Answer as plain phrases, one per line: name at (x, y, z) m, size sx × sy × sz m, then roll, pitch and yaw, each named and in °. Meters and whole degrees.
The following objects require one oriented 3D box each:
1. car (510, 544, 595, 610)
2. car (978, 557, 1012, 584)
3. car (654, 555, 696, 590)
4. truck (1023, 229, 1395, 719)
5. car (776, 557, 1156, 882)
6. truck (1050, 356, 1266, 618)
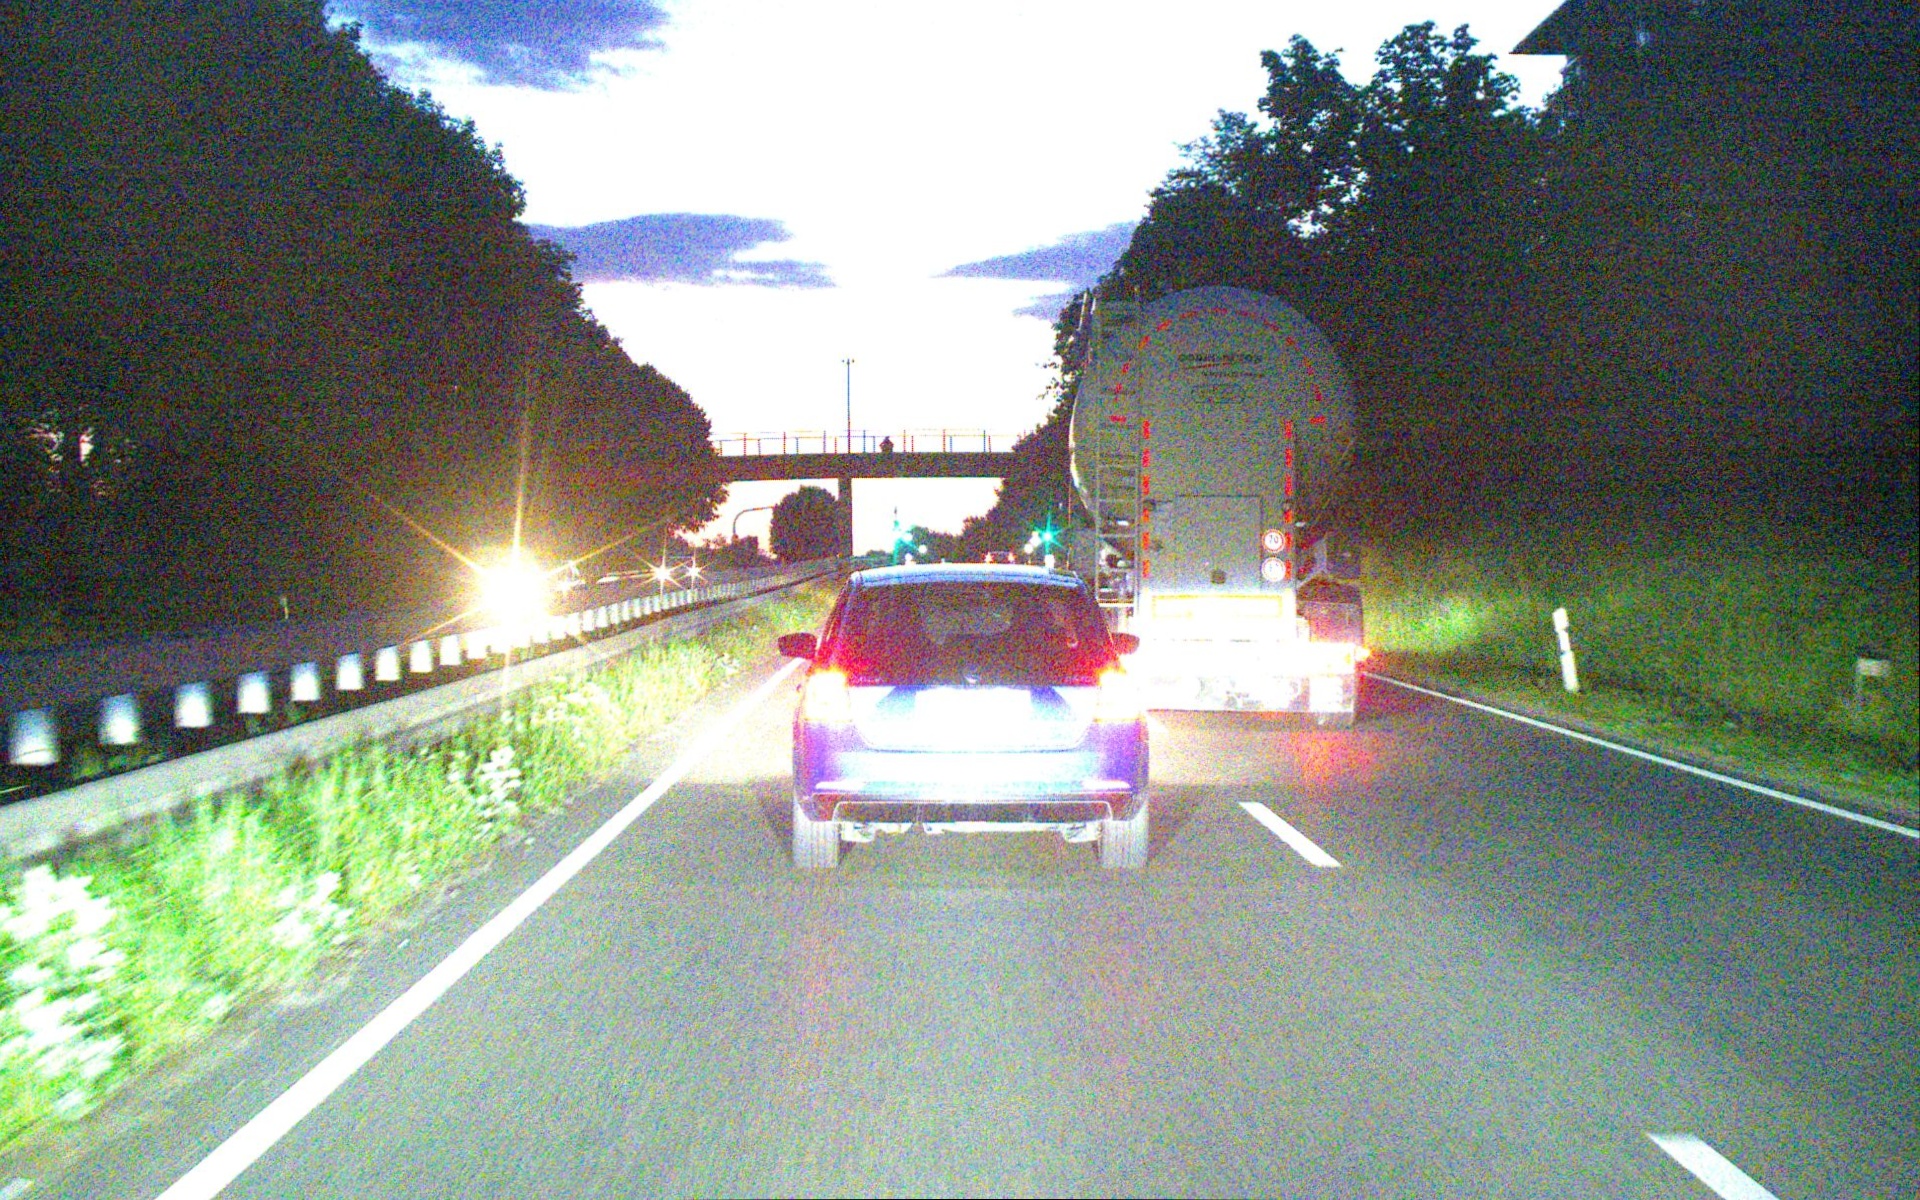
car at (-10.169, -0.597, 86.064) m, size 1.682 × 1.582 × 4.167 m, roll 0°, pitch 1°, yaw -1°
car at (1.856, -1.573, 184.203) m, size 1.695 × 1.447 × 3.914 m, roll 0°, pitch 1°, yaw -1°
car at (-12.691, -1.231, 153.290) m, size 1.617 × 1.502 × 3.869 m, roll 0°, pitch 1°, yaw -1°
truck at (2.209, -1.122, 35.429) m, size 2.687 × 4.092 × 13.142 m, roll 0°, pitch 1°, yaw -1°
car at (0.004, 0.515, 17.390) m, size 1.695 × 1.447 × 3.914 m, roll 0°, pitch 1°, yaw -1°
truck at (3.275, -1.841, 60.386) m, size 2.883 × 4.092 × 12.684 m, roll 0°, pitch 1°, yaw -1°
